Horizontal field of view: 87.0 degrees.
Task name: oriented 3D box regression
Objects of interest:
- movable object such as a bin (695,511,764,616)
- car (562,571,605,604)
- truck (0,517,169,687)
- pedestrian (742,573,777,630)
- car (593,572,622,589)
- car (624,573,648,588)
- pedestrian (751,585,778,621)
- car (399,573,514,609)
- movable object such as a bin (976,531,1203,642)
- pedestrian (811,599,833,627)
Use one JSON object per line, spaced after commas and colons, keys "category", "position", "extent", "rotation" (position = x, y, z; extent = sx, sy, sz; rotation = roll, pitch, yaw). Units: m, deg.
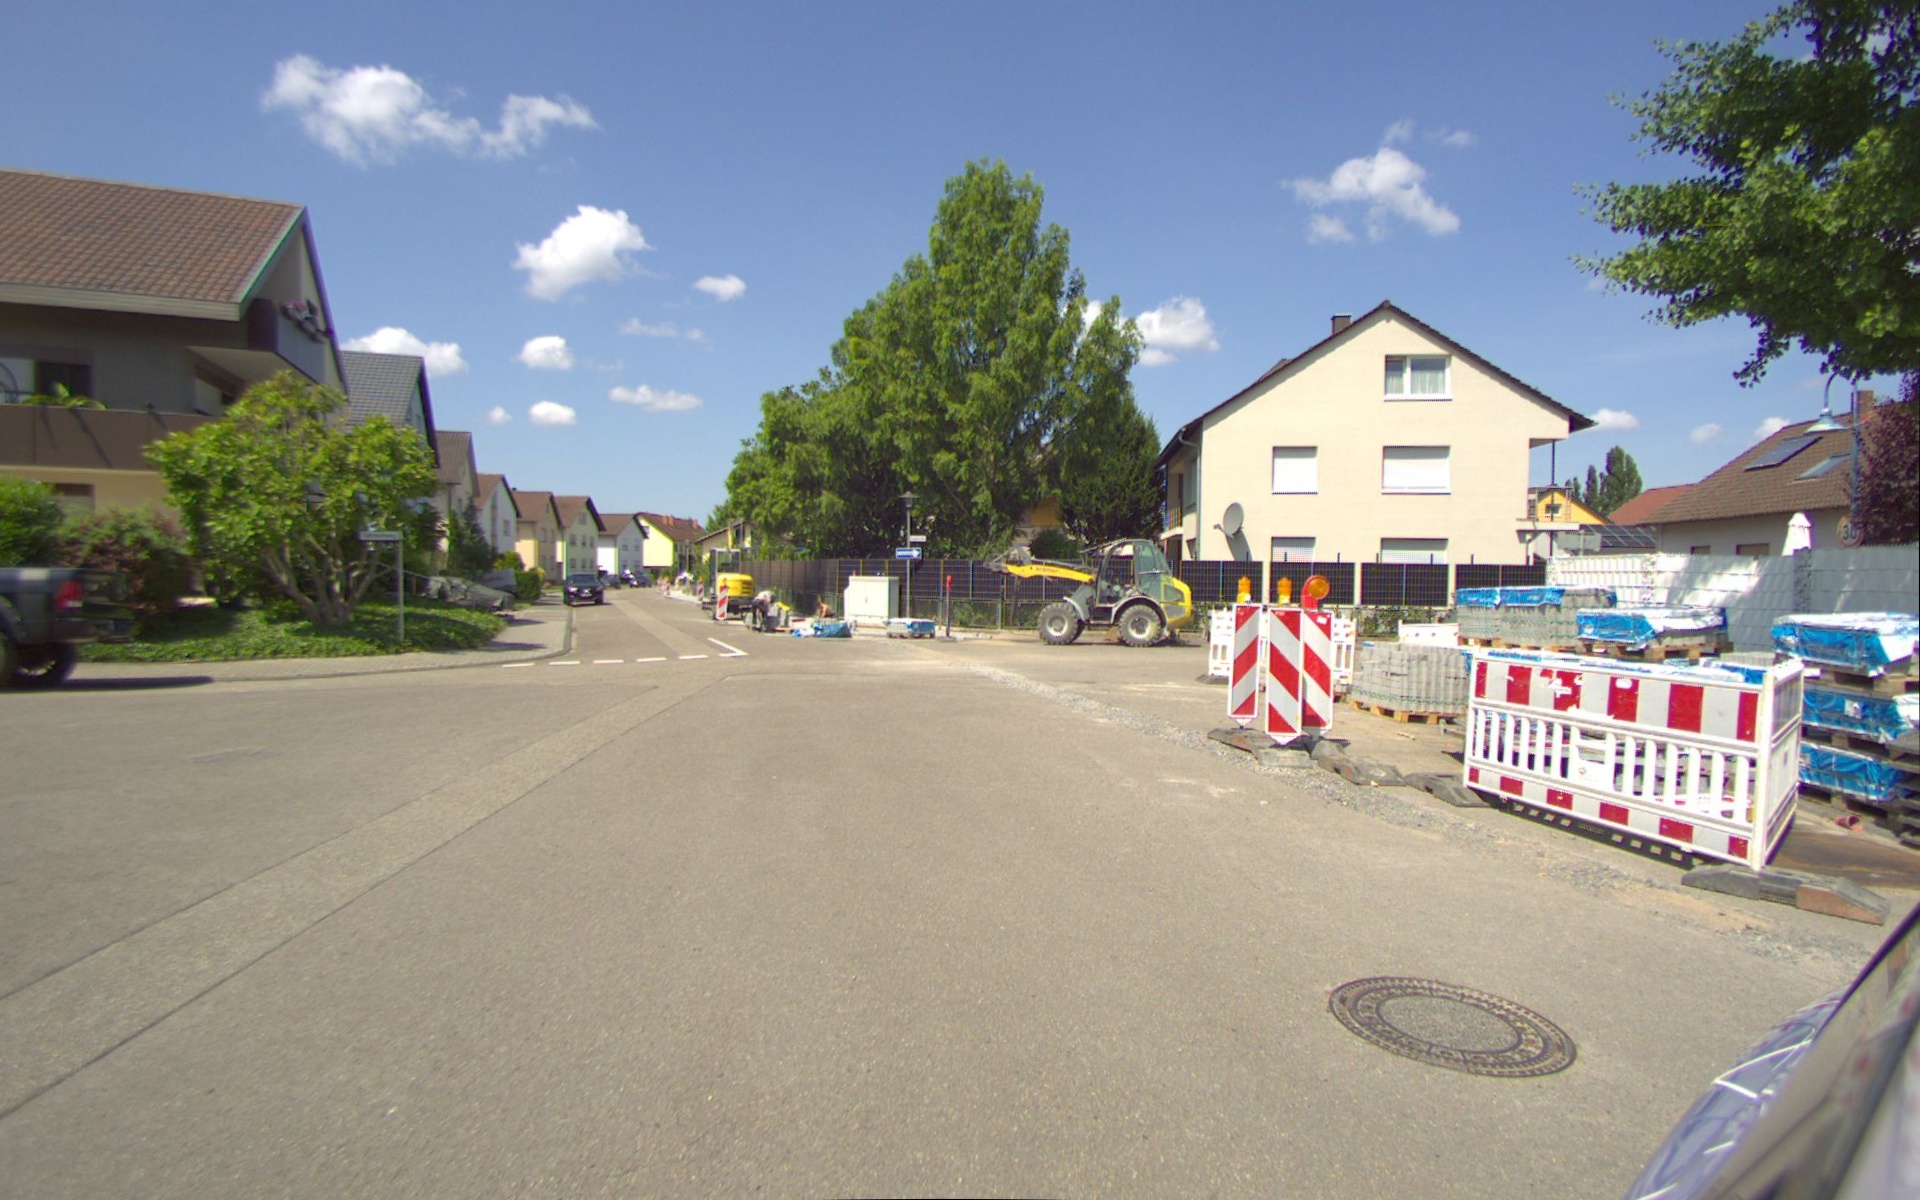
{"category": "movable object such as a bin", "position": [-8.415, -1.306, 36.702], "extent": [1.958, 3.609, 3.824], "rotation": [0, 1, -20]}
{"category": "car", "position": [-18.903, -0.645, 50.756], "extent": [1.880, 1.561, 4.009], "rotation": [0, 2, -22]}
{"category": "truck", "position": [-13.622, 0.081, 12.528], "extent": [5.594, 2.040, 2.374], "rotation": [0, -2, -24]}
{"category": "pedestrian", "position": [-5.461, 0.021, 27.571], "extent": [0.527, 1.533, 0.843], "rotation": [0, 1, 27]}
{"category": "car", "position": [-35.722, -1.980, 102.688], "extent": [1.928, 1.671, 4.006], "rotation": [0, 2, -7]}
{"category": "car", "position": [-37.396, -2.294, 116.935], "extent": [1.959, 1.671, 4.006], "rotation": [0, 2, -7]}
{"category": "pedestrian", "position": [-6.505, 0.084, 33.691], "extent": [0.507, 1.183, 0.817], "rotation": [1, 2, 28]}
{"category": "car", "position": [-19.831, -0.383, 40.035], "extent": [3.916, 1.358, 2.004], "rotation": [0, 1, -22]}
{"category": "movable object such as a bin", "position": [3.076, -0.304, 24.105], "extent": [5.149, 2.483, 1.993], "rotation": [0, -1, 11]}
{"category": "pedestrian", "position": [-4.156, 0.376, 30.419], "extent": [0.514, 0.803, 0.430], "rotation": [-2, 2, -44]}
